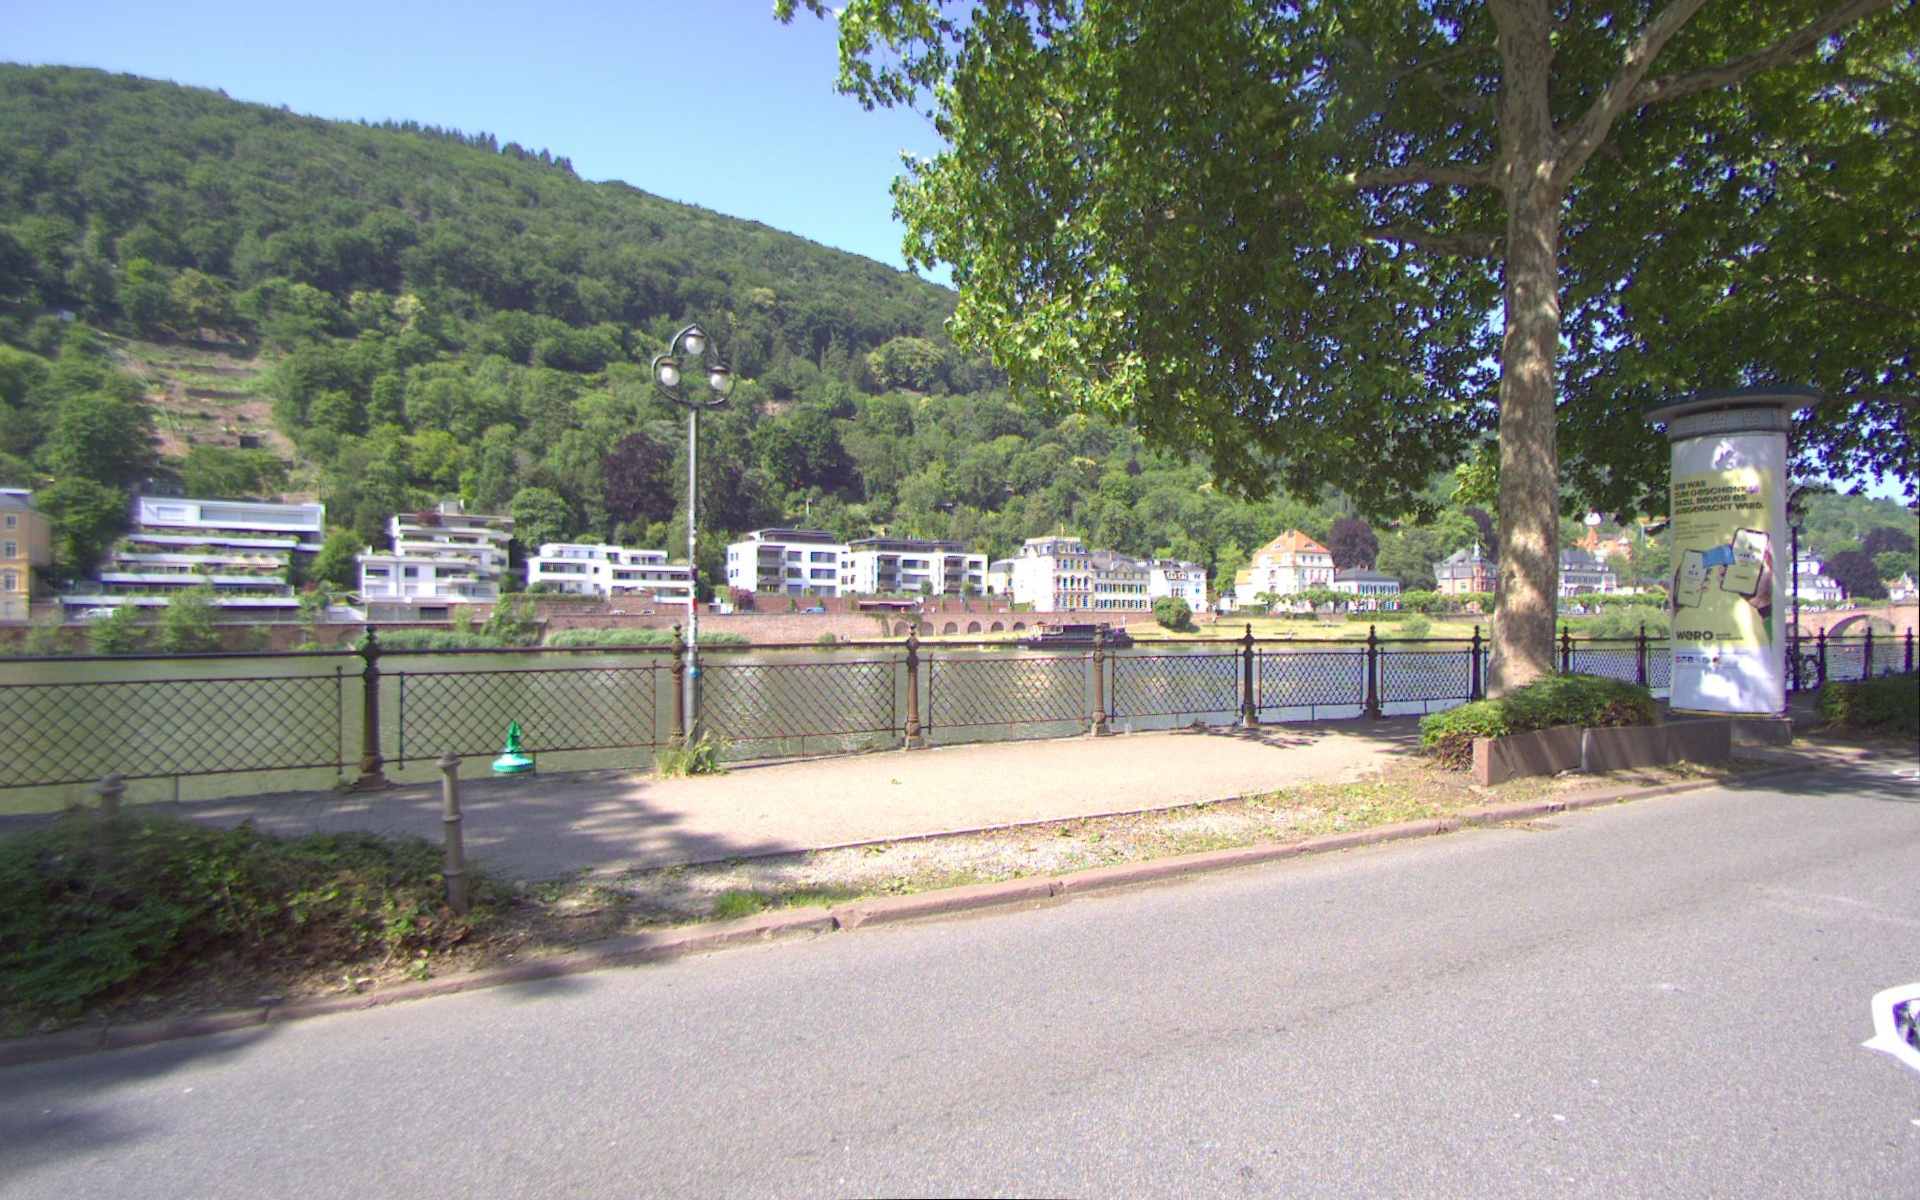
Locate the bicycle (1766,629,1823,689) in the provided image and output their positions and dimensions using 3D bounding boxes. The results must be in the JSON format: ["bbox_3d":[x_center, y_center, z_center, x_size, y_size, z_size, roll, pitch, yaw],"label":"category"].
[{"bbox_3d":[17.055,1.192,20.514,1.806,1.177,0.355,1,1,-33],"label":"bicycle"}]
